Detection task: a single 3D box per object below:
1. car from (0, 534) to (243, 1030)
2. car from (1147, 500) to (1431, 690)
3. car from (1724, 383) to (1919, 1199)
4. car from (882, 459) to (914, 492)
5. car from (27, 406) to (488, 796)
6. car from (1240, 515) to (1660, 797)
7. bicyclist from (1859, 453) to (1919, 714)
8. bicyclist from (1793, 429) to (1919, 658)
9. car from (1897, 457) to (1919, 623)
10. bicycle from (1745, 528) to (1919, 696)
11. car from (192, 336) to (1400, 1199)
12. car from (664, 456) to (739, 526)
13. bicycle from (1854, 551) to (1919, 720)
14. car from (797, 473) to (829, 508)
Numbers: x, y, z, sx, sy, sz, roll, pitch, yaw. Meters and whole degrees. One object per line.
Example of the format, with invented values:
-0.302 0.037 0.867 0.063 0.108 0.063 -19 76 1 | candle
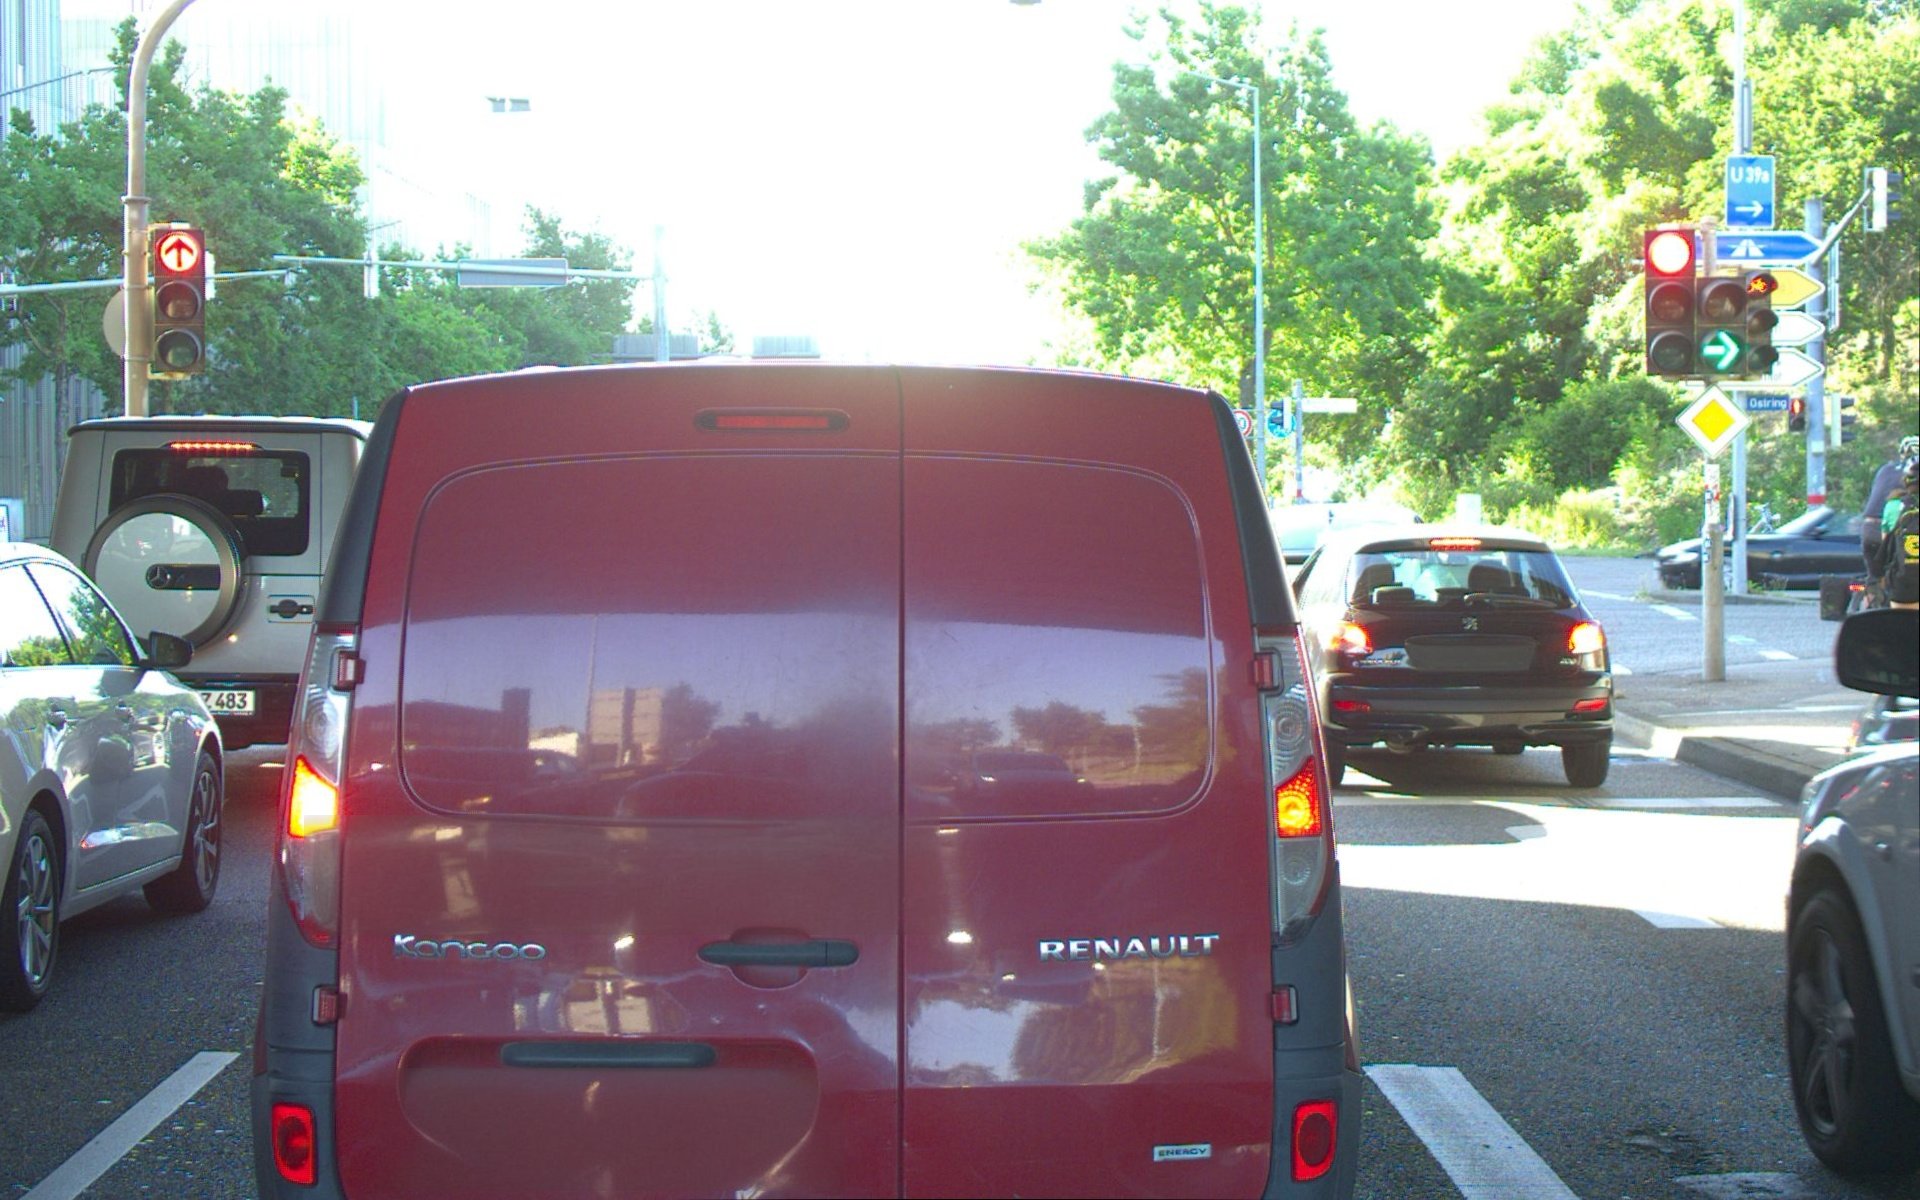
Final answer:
-3.617 0.485 11.496 1.692 1.405 3.814 1 1 -1 | car
2.677 -0.089 28.945 1.745 1.451 4.665 1 1 -2 | car
2.991 0.499 6.101 1.897 1.830 4.836 1 1 -4 | car
-3.982 -7.980 220.631 1.993 2.007 4.000 1 1 -1 | car
-3.719 -0.030 18.830 1.813 1.897 3.814 1 1 -1 | car
2.708 0.256 19.783 1.745 1.451 3.717 1 1 -2 | car
6.067 -0.103 21.693 0.677 1.623 0.644 1 0 10 | bicyclist
6.677 -0.414 25.303 0.748 1.650 0.884 1 1 36 | bicyclist
12.777 -0.671 38.207 4.285 1.827 1.820 -1 3 -20 | car
6.631 0.061 25.231 0.767 1.142 2.464 0 2 36 | bicycle
-0.262 0.471 6.940 1.719 1.758 4.000 1 1 -1 | car
-7.792 -3.280 103.919 1.993 2.007 4.000 1 1 -1 | car
6.051 0.215 21.664 0.677 1.020 1.528 1 1 10 | bicycle
-8.854 -6.609 207.486 1.748 2.007 3.845 1 1 -1 | car
